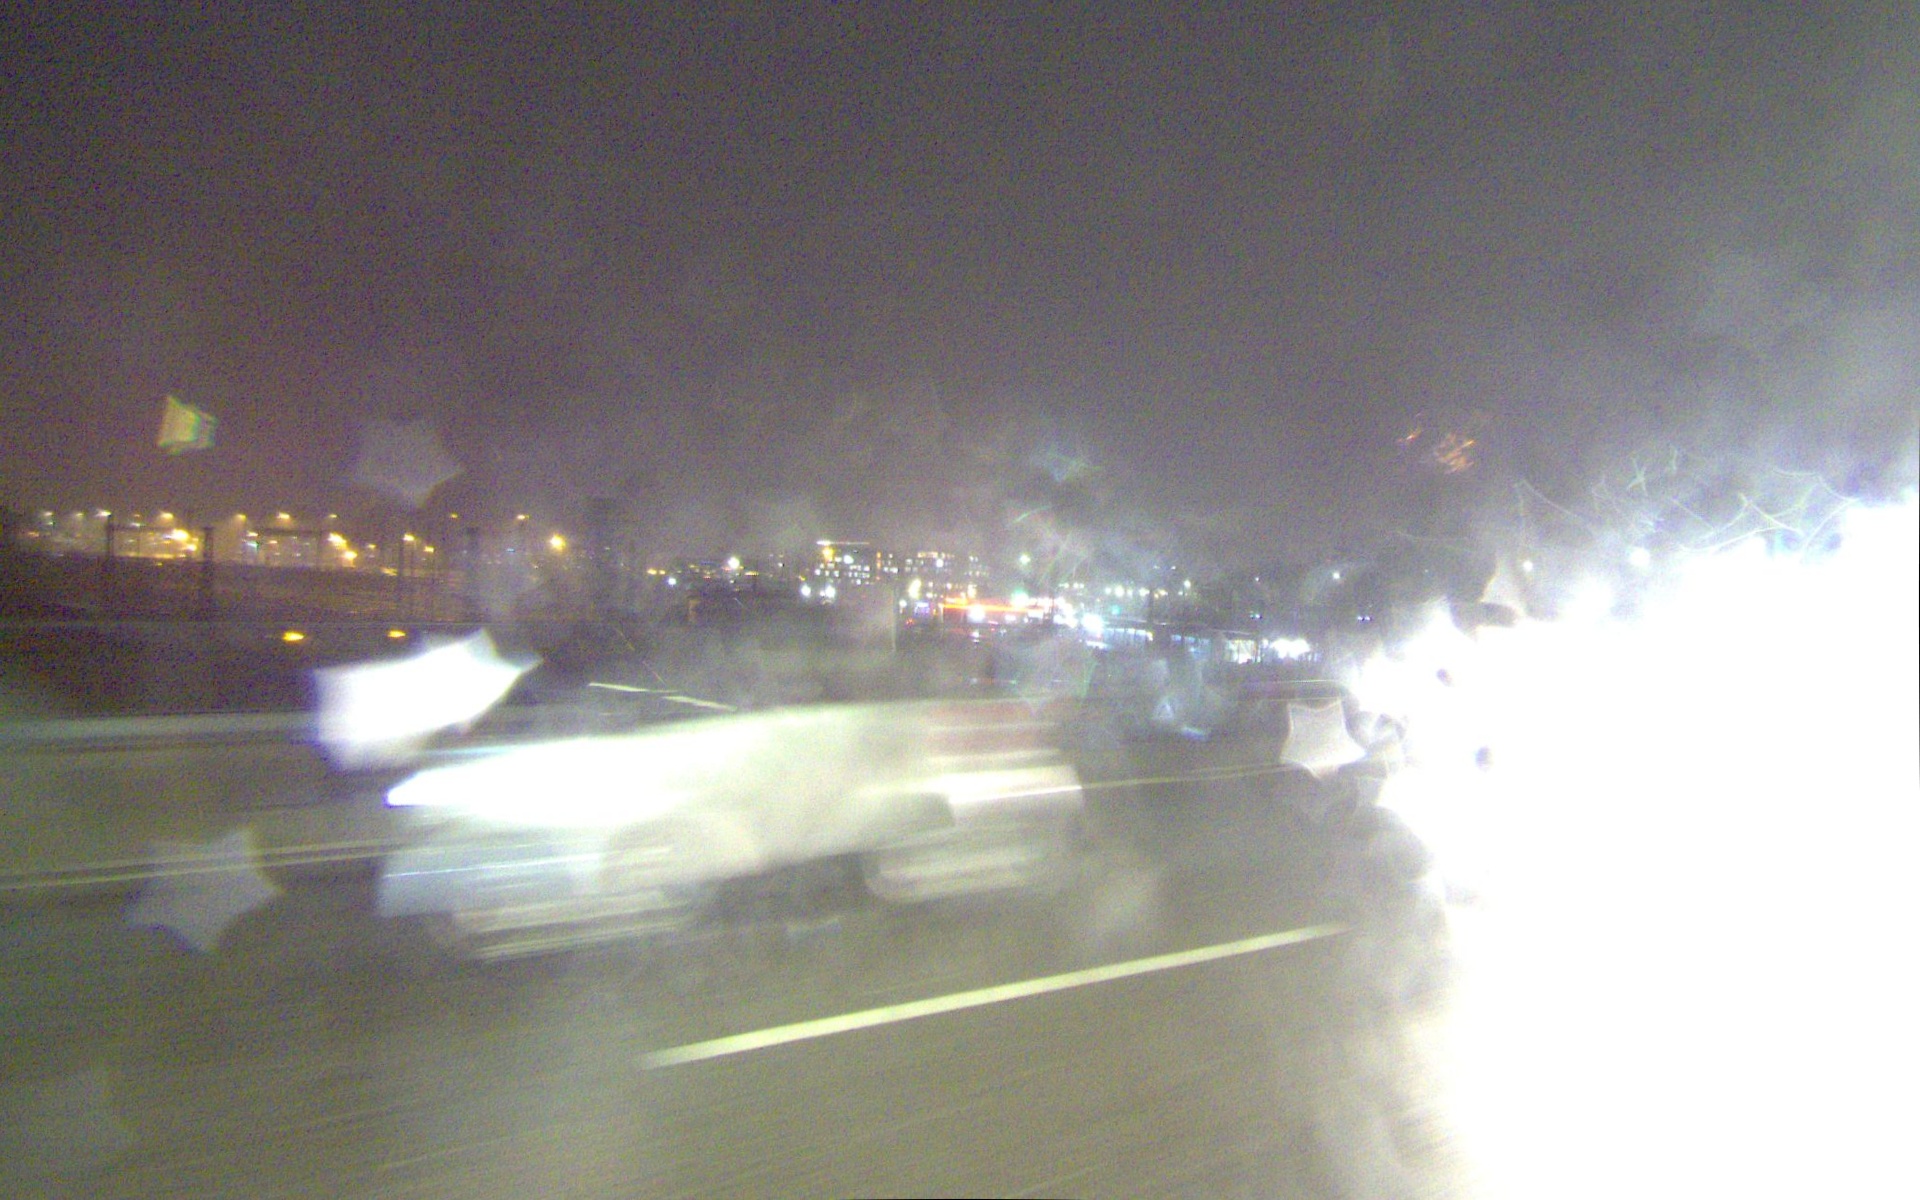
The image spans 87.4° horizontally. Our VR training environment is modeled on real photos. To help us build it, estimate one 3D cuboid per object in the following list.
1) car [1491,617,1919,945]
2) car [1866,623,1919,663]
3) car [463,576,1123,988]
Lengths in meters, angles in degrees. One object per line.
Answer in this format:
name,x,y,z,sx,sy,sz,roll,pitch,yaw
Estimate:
car,5.356,0.853,6.469,4.024,1.458,1.882,1,-1,-36
car,50.216,2.292,53.834,1.642,2.040,3.992,0,-1,31
car,-0.857,0.711,5.292,3.149,1.606,1.465,0,0,-27
